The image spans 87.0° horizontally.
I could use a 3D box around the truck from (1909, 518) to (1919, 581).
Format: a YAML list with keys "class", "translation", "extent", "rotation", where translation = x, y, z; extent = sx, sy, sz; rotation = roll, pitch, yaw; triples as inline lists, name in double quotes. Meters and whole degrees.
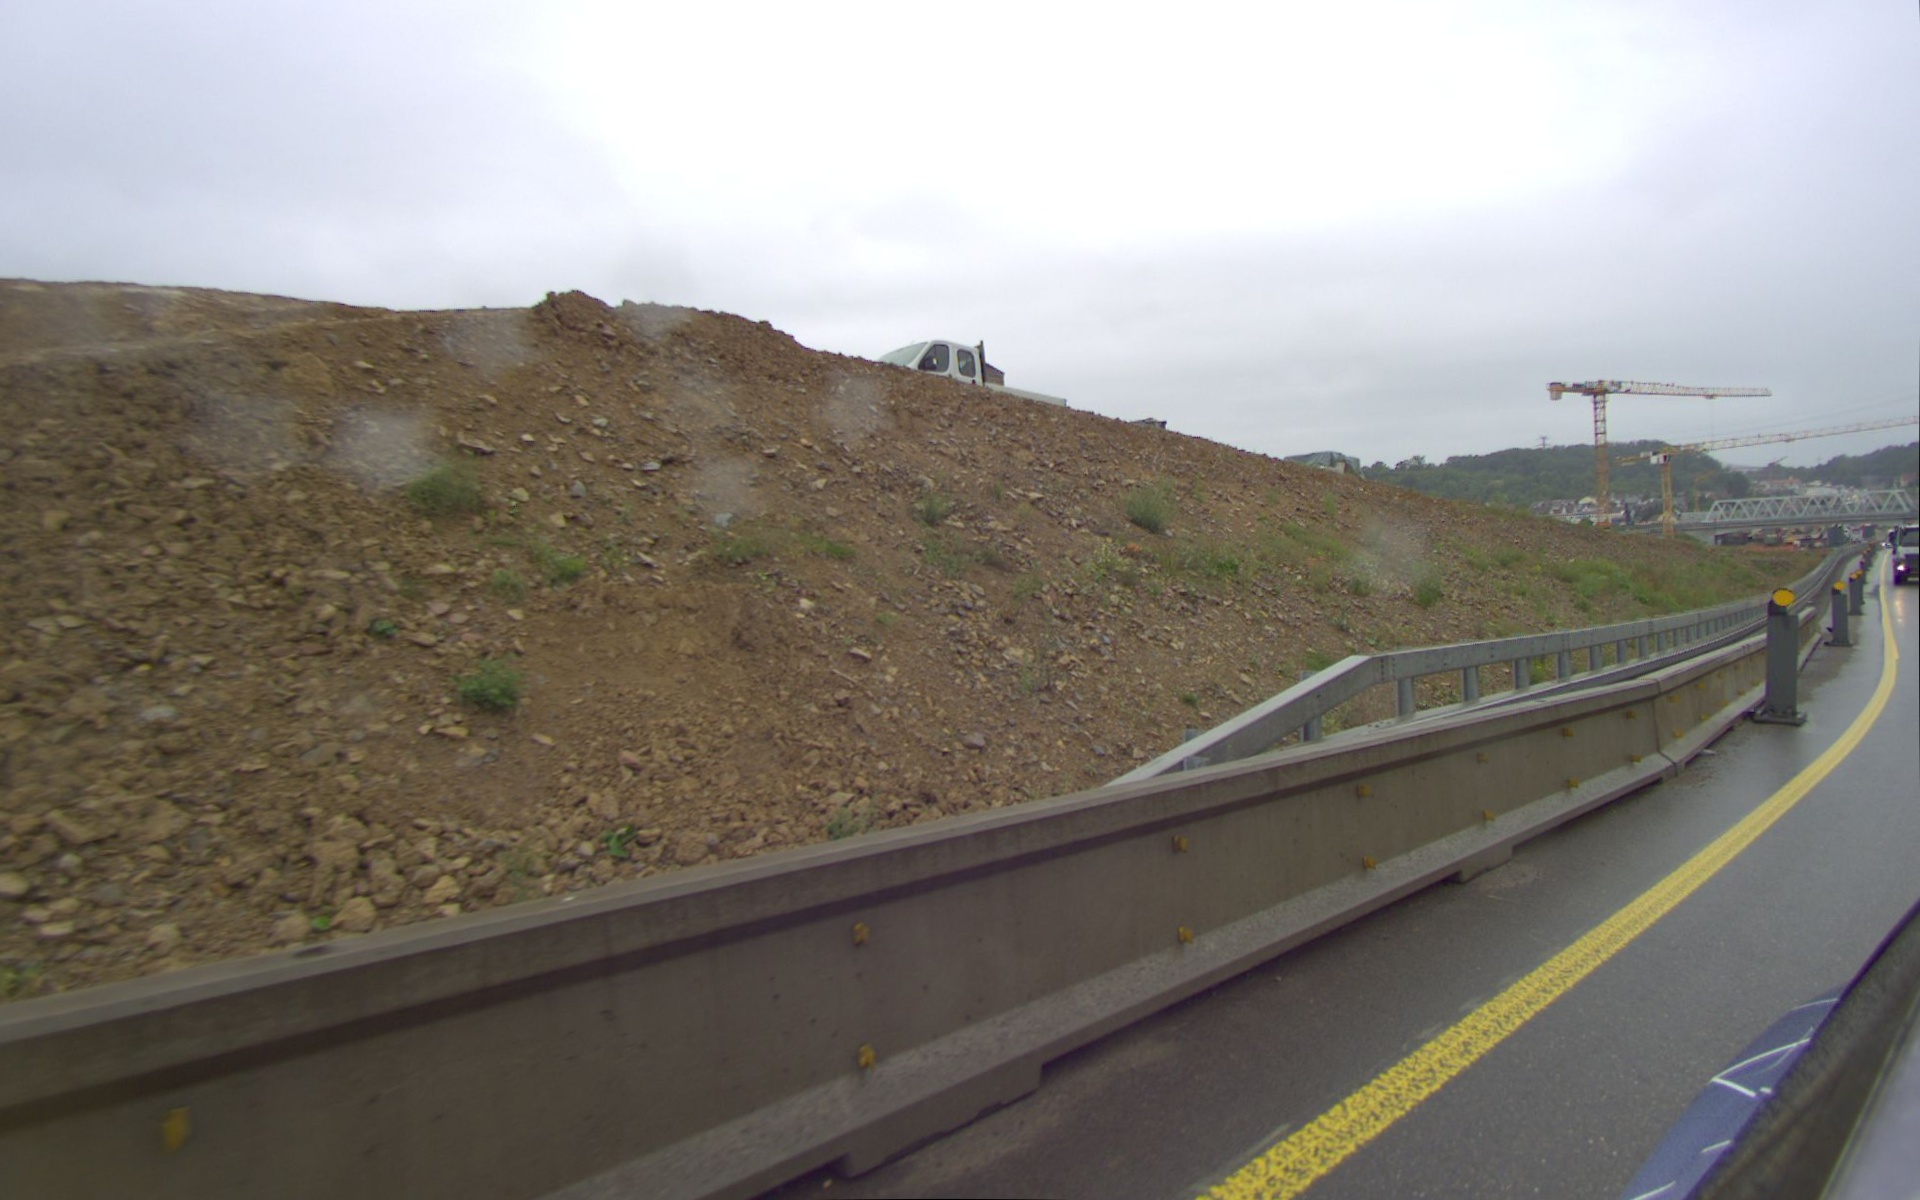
- class: "truck"
  translation: [56.523, -3.009, 58.375]
  extent: [2.569, 3.512, 6.526]
  rotation: [1, 4, 44]

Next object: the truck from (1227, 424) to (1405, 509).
- class: "truck"
  translation: [14.730, -5.271, 41.415]
  extent: [3.397, 2.909, 8.819]
  rotation: [1, 4, 45]

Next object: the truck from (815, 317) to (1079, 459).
- class: "truck"
  translation: [-0.109, -5.091, 25.463]
  extent: [2.644, 2.585, 6.882]
  rotation: [1, 4, 42]

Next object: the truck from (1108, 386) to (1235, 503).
- class: "truck"
  translation: [8.794, -6.208, 41.650]
  extent: [2.372, 4.269, 5.891]
  rotation: [0, 4, 42]
